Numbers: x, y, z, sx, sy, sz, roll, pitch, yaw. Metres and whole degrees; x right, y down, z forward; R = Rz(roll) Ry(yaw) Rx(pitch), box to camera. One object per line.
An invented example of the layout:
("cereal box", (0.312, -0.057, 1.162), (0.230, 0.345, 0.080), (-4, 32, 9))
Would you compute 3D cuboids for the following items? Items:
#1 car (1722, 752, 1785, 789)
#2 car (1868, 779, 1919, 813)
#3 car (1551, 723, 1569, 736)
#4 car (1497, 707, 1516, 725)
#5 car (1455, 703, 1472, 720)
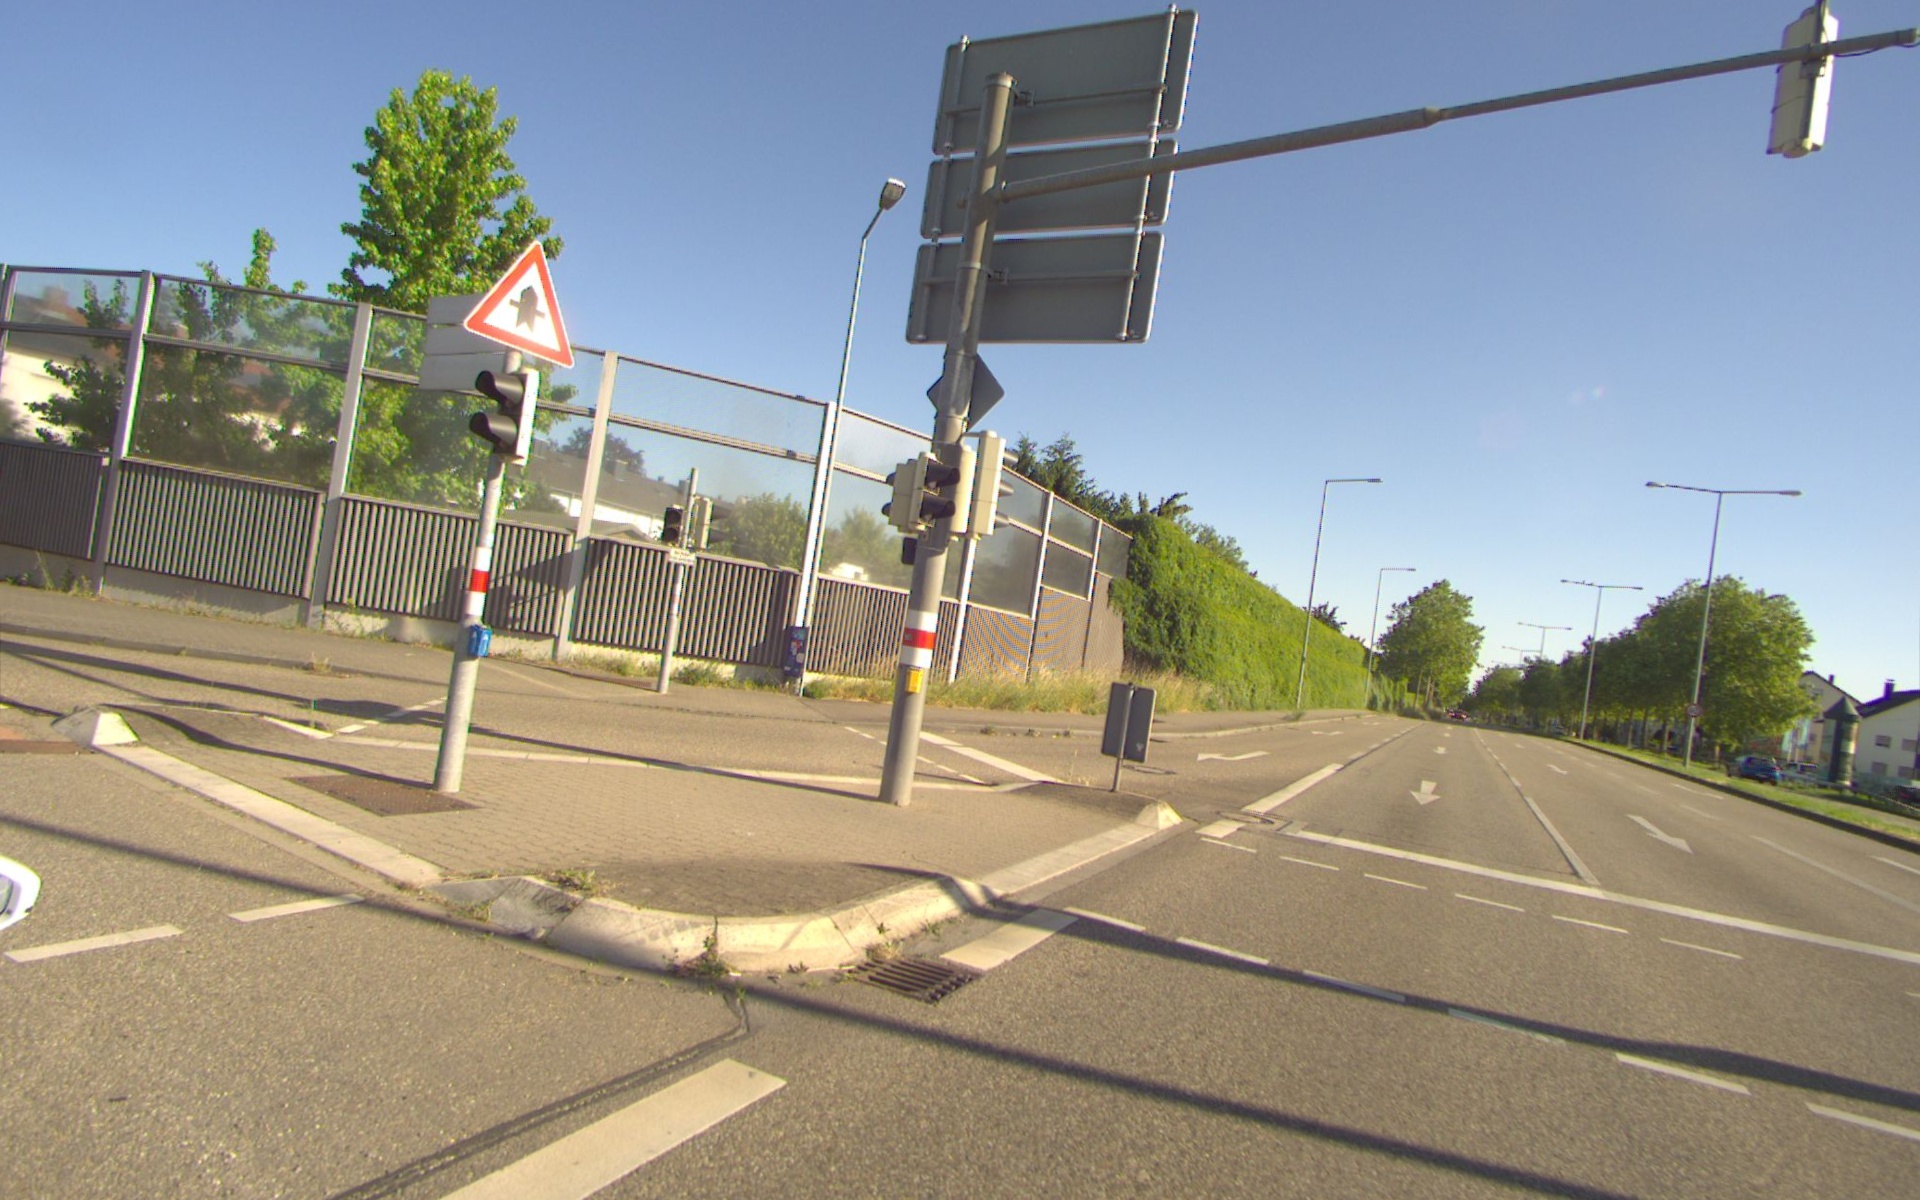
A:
("car", (44.115, 9.433, 55.990), (1.706, 1.457, 3.793), (10, -1, 25))
("car", (58.160, 12.146, 62.102), (1.965, 1.608, 4.002), (9, -3, 27))
("car", (93.355, 20.066, 156.545), (1.826, 1.610, 3.999), (9, -1, 27))
("car", (81.048, 17.167, 149.328), (1.809, 2.319, 4.001), (9, -1, 23))
("car", (71.335, 15.774, 142.541), (1.637, 1.932, 4.001), (9, -1, 23))
